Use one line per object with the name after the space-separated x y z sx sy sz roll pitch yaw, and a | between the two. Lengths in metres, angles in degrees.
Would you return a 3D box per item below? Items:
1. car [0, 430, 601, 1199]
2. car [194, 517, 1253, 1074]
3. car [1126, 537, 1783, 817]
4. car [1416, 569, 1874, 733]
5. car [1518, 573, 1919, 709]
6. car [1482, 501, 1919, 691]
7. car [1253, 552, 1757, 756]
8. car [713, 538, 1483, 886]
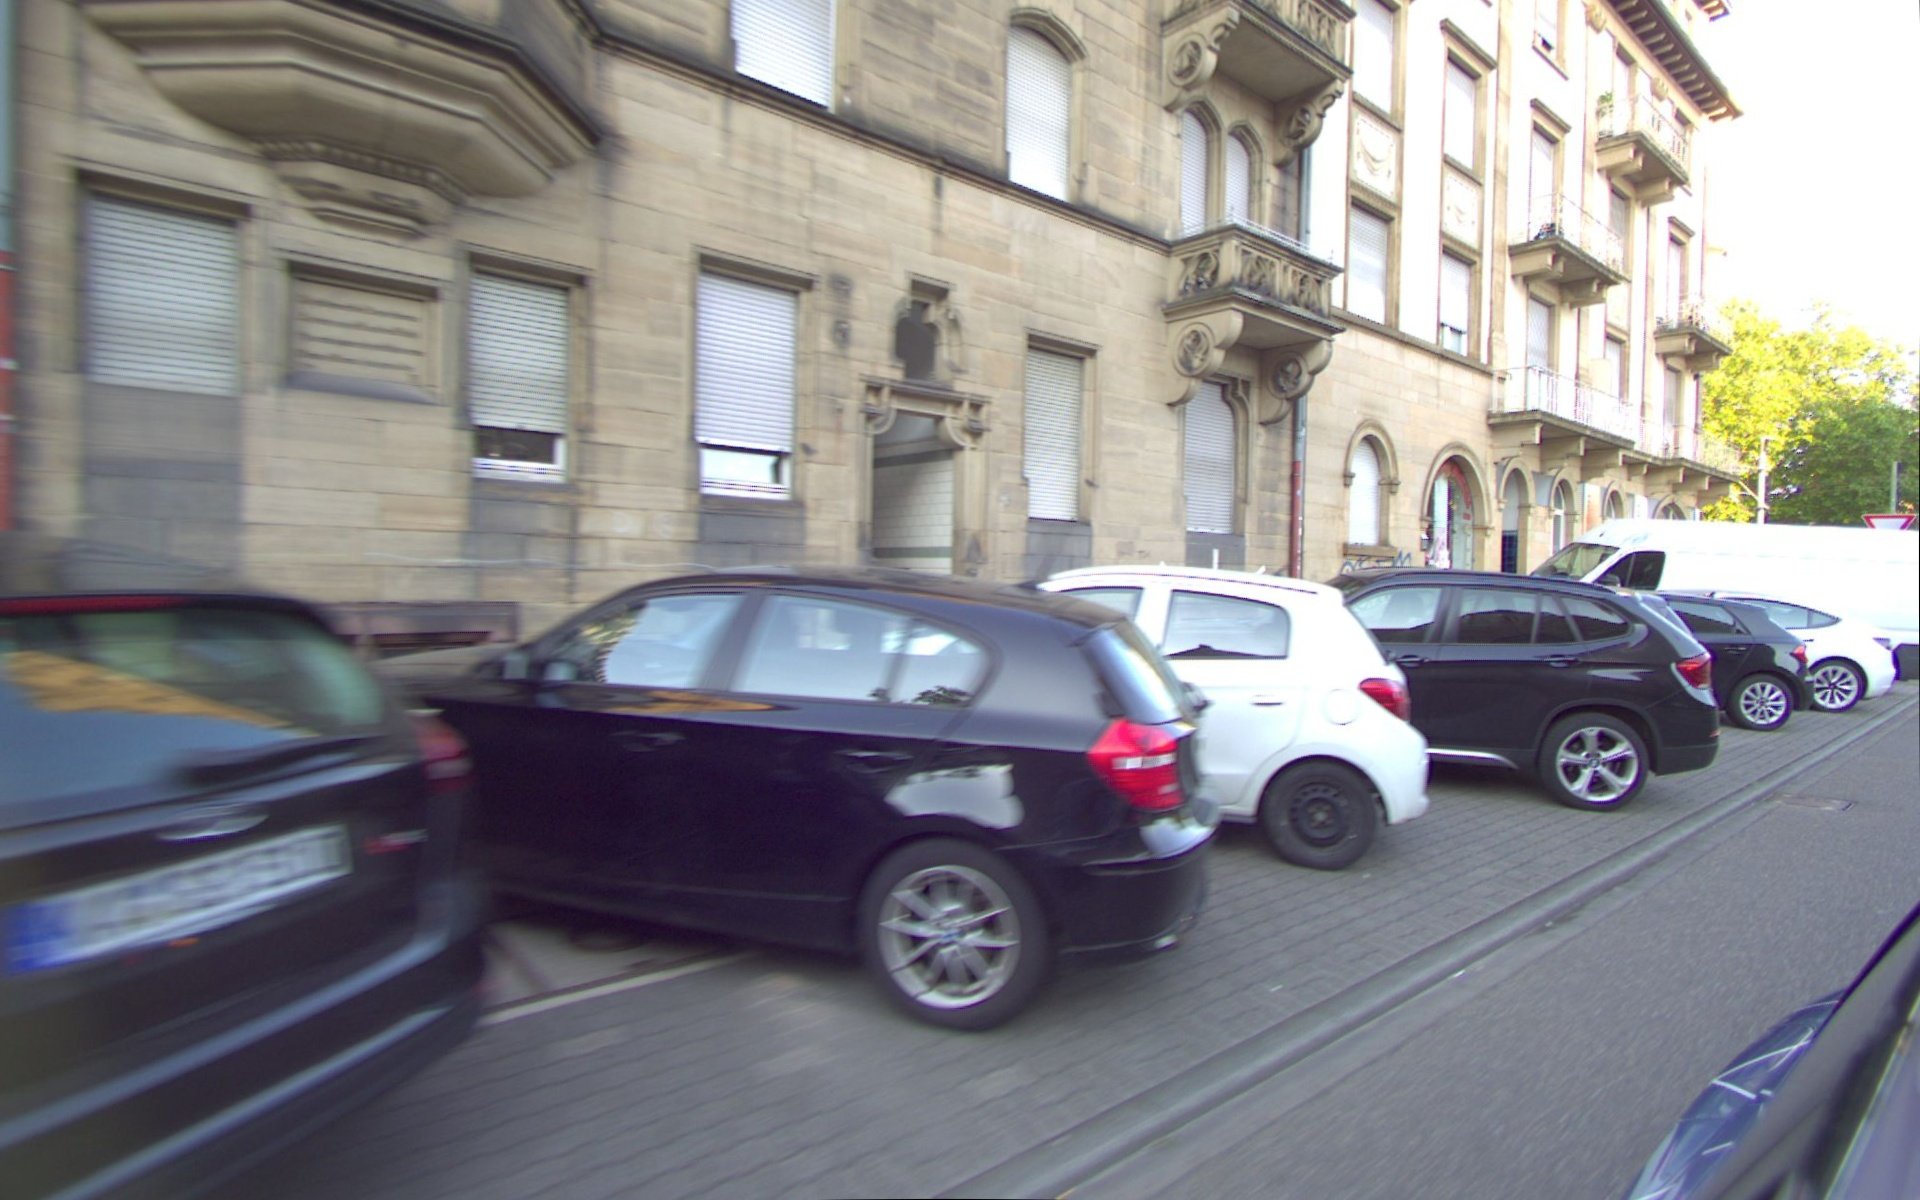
-3.084 0.450 2.416 4.074 1.564 1.783 3 4 22 | car
-0.871 0.477 4.335 3.979 1.449 1.860 4 3 16 | car
3.386 0.423 7.761 4.036 1.626 1.811 3 3 12 | car
7.637 0.488 11.721 3.854 1.463 1.871 3 4 10 | car
10.146 0.465 13.540 4.189 1.471 1.994 2 3 12 | car
11.722 -0.153 15.829 5.789 2.582 2.192 2 4 9 | car
4.991 0.412 9.826 3.852 1.563 1.714 3 4 9 | car
0.730 0.465 6.194 4.000 1.516 1.747 3 3 15 | car
